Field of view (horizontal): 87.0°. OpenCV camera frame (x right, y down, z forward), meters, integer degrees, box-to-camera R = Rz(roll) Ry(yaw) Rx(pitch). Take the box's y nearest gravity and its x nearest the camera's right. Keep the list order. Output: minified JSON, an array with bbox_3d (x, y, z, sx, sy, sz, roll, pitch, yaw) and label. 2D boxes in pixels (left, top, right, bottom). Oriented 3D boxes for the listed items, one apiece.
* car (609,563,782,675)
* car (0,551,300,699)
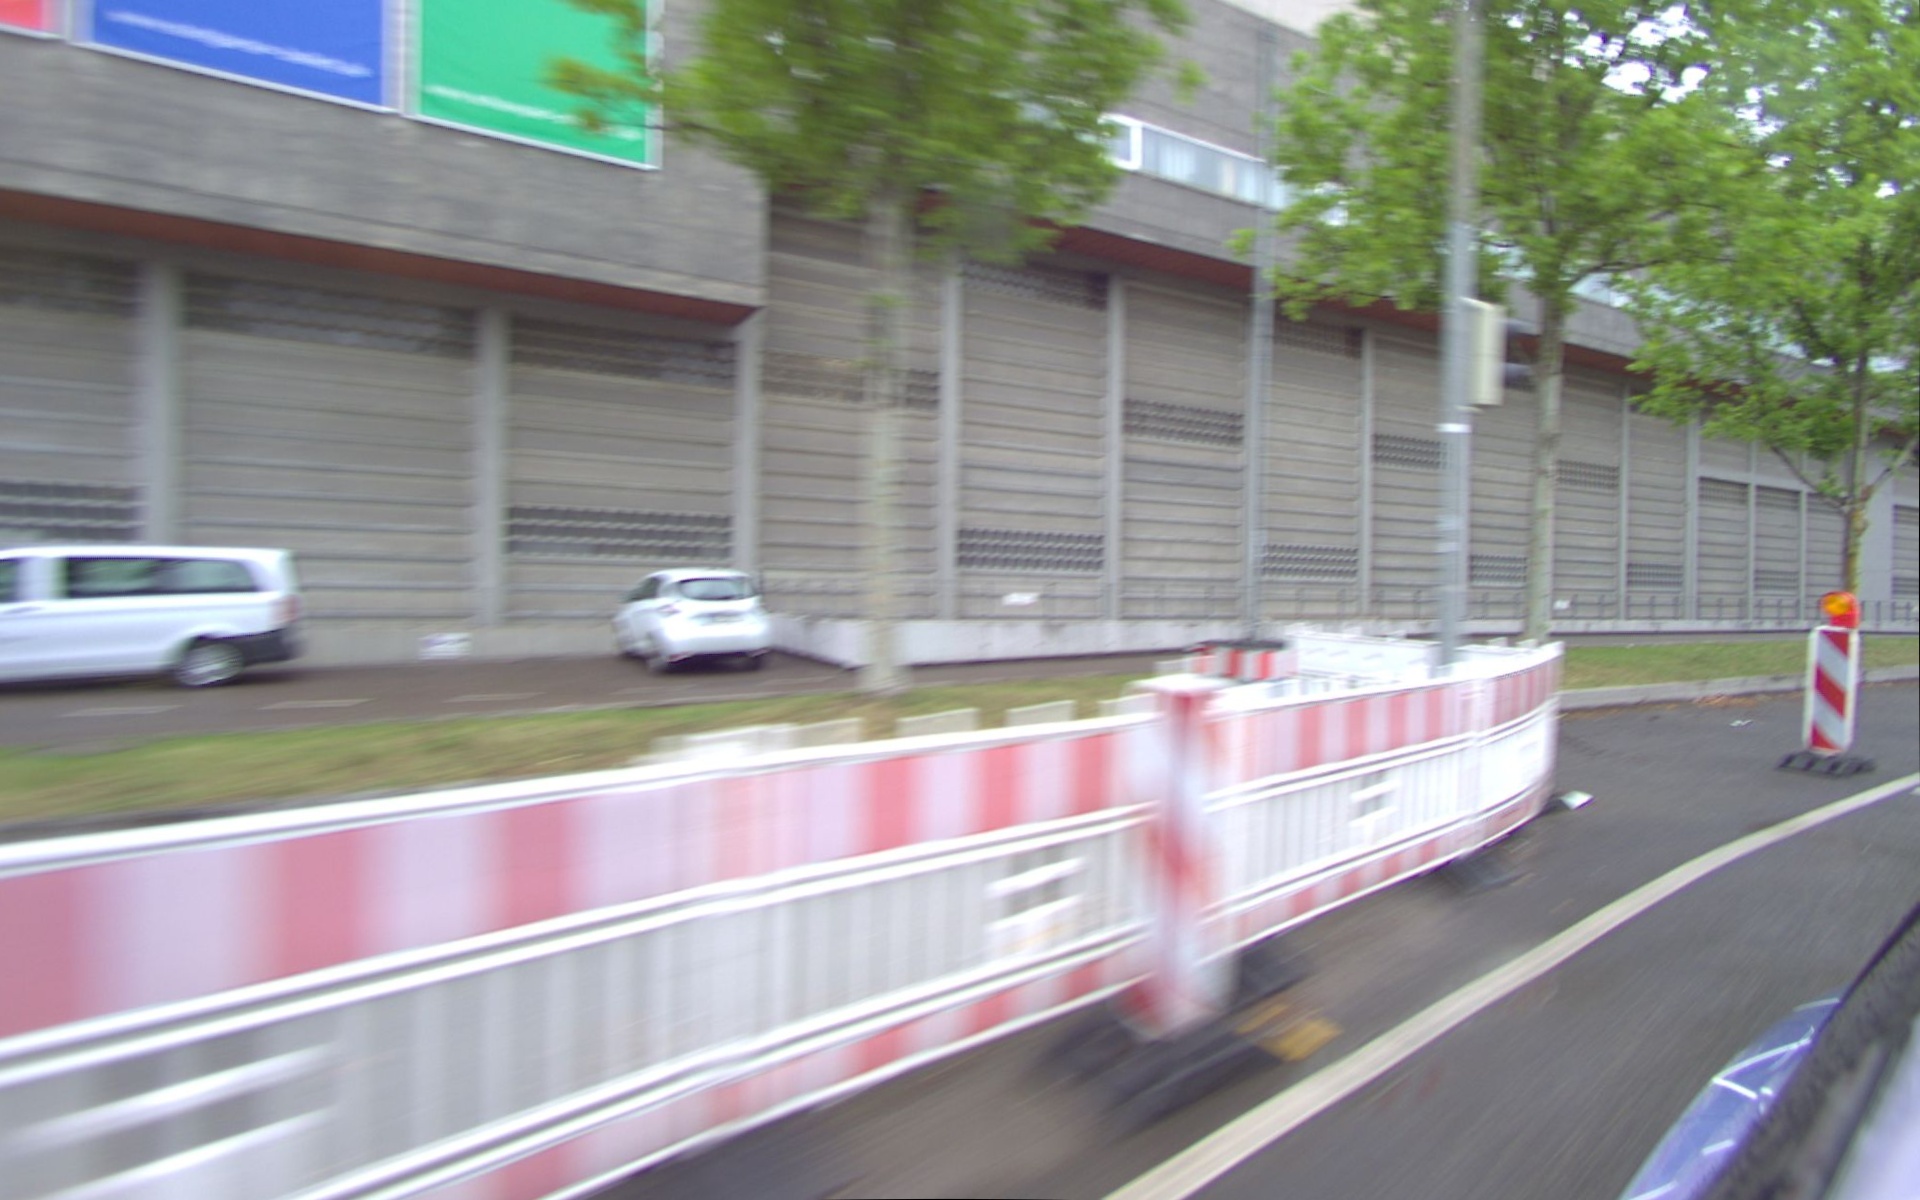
[{"bbox_3d":[-4.429,0.211,16.550,1.744,1.599,3.854,-1,2,-31],"label":"car"},{"bbox_3d":[-11.647,0.270,13.437,4.789,1.810,1.780,-1,2,-33],"label":"car"}]
